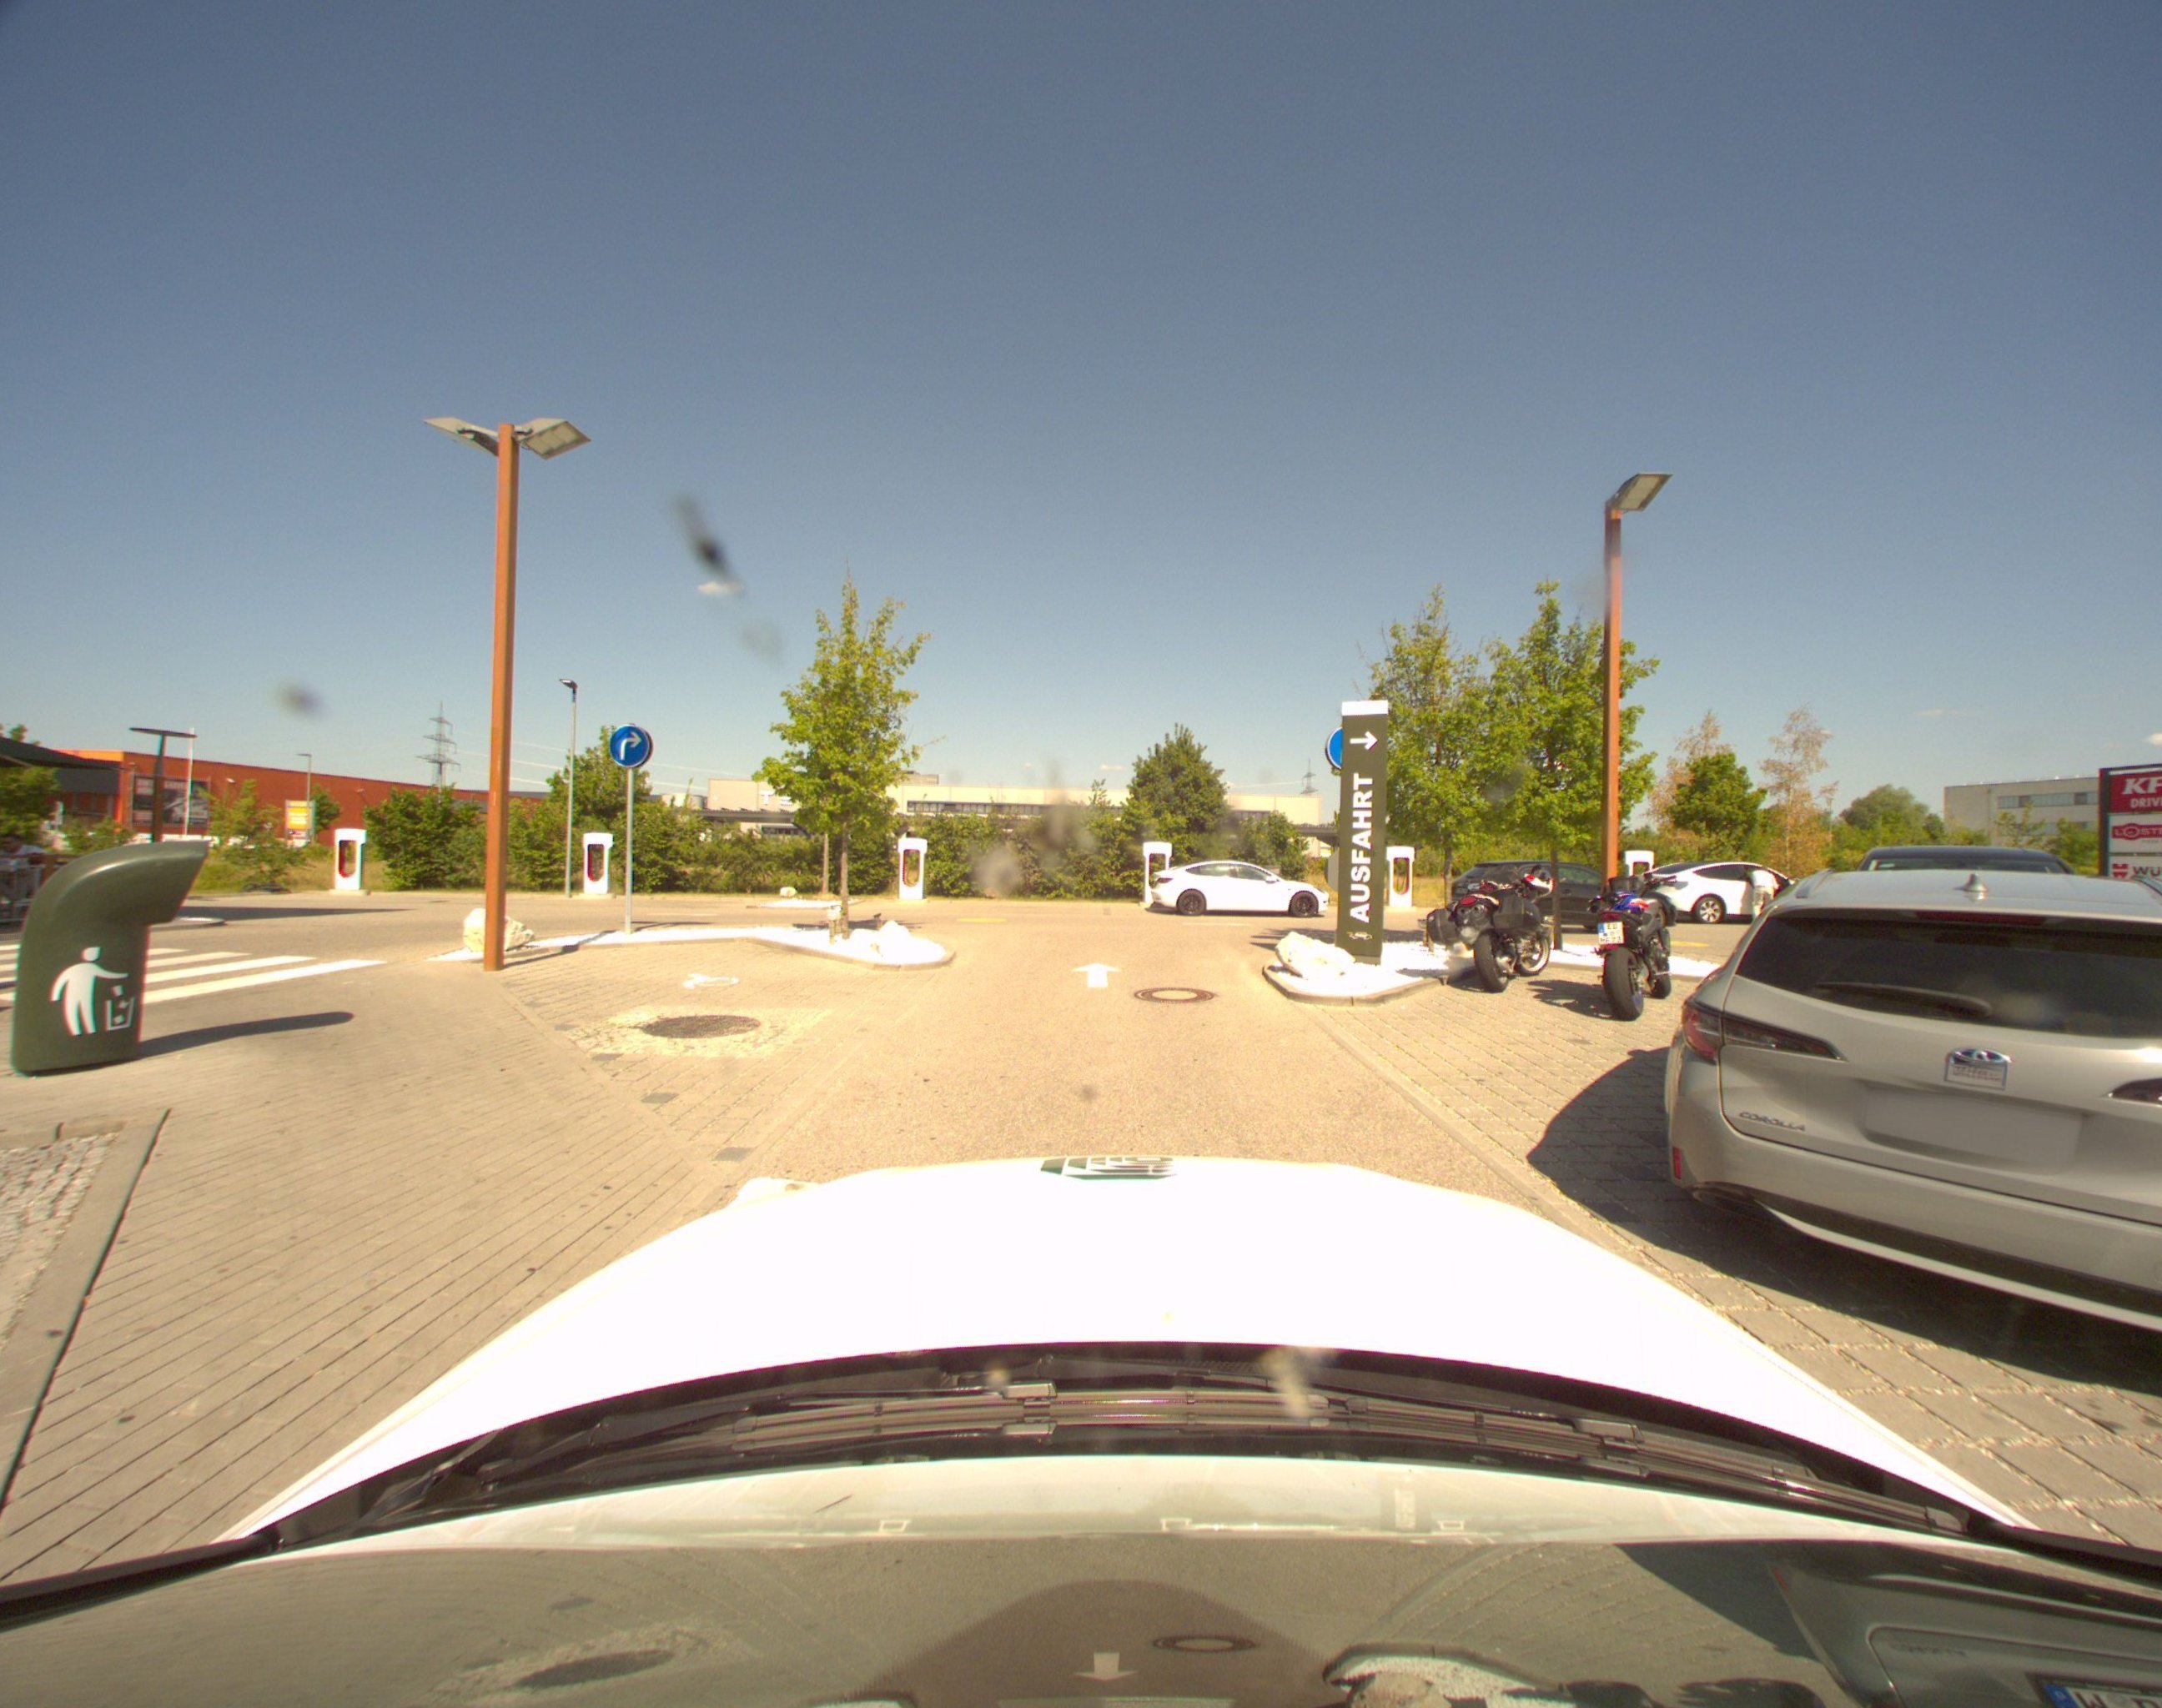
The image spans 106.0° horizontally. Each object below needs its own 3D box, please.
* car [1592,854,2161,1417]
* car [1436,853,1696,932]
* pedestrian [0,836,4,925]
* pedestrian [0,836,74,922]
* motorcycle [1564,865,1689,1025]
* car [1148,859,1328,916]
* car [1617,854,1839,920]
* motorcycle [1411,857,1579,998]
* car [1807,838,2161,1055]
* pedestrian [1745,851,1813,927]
[{"bbox_3d":[4.283,0.733,3.997,4.688,1.447,1.814,0,0,-42],"label":"car"},{"bbox_3d":[9.525,0.756,16.215,4.187,1.441,1.698,1,-2,0],"label":"car"},{"bbox_3d":[-15.582,0.374,11.221,0.521,1.258,0.715,1,0,-4],"label":"pedestrian"},{"bbox_3d":[-15.899,0.362,12.252,0.570,1.258,0.728,1,0,-5],"label":"pedestrian"},{"bbox_3d":[5.188,0.754,7.675,0.810,1.231,2.155,1,1,38],"label":"motorcycle"},{"bbox_3d":[4.029,0.851,21.427,4.417,1.377,1.823,1,0,1],"label":"car"},{"bbox_3d":[16.940,0.836,21.454,4.462,1.600,1.869,1,0,-2],"label":"car"},{"bbox_3d":[4.523,0.691,8.802,1.057,1.250,2.266,2,2,42],"label":"motorcycle"},{"bbox_3d":[8.398,0.639,7.929,1.872,1.537,4.216,1,0,43],"label":"car"},{"bbox_3d":[17.151,0.834,20.032,0.732,1.800,1.035,1,1,-2],"label":"pedestrian"}]
